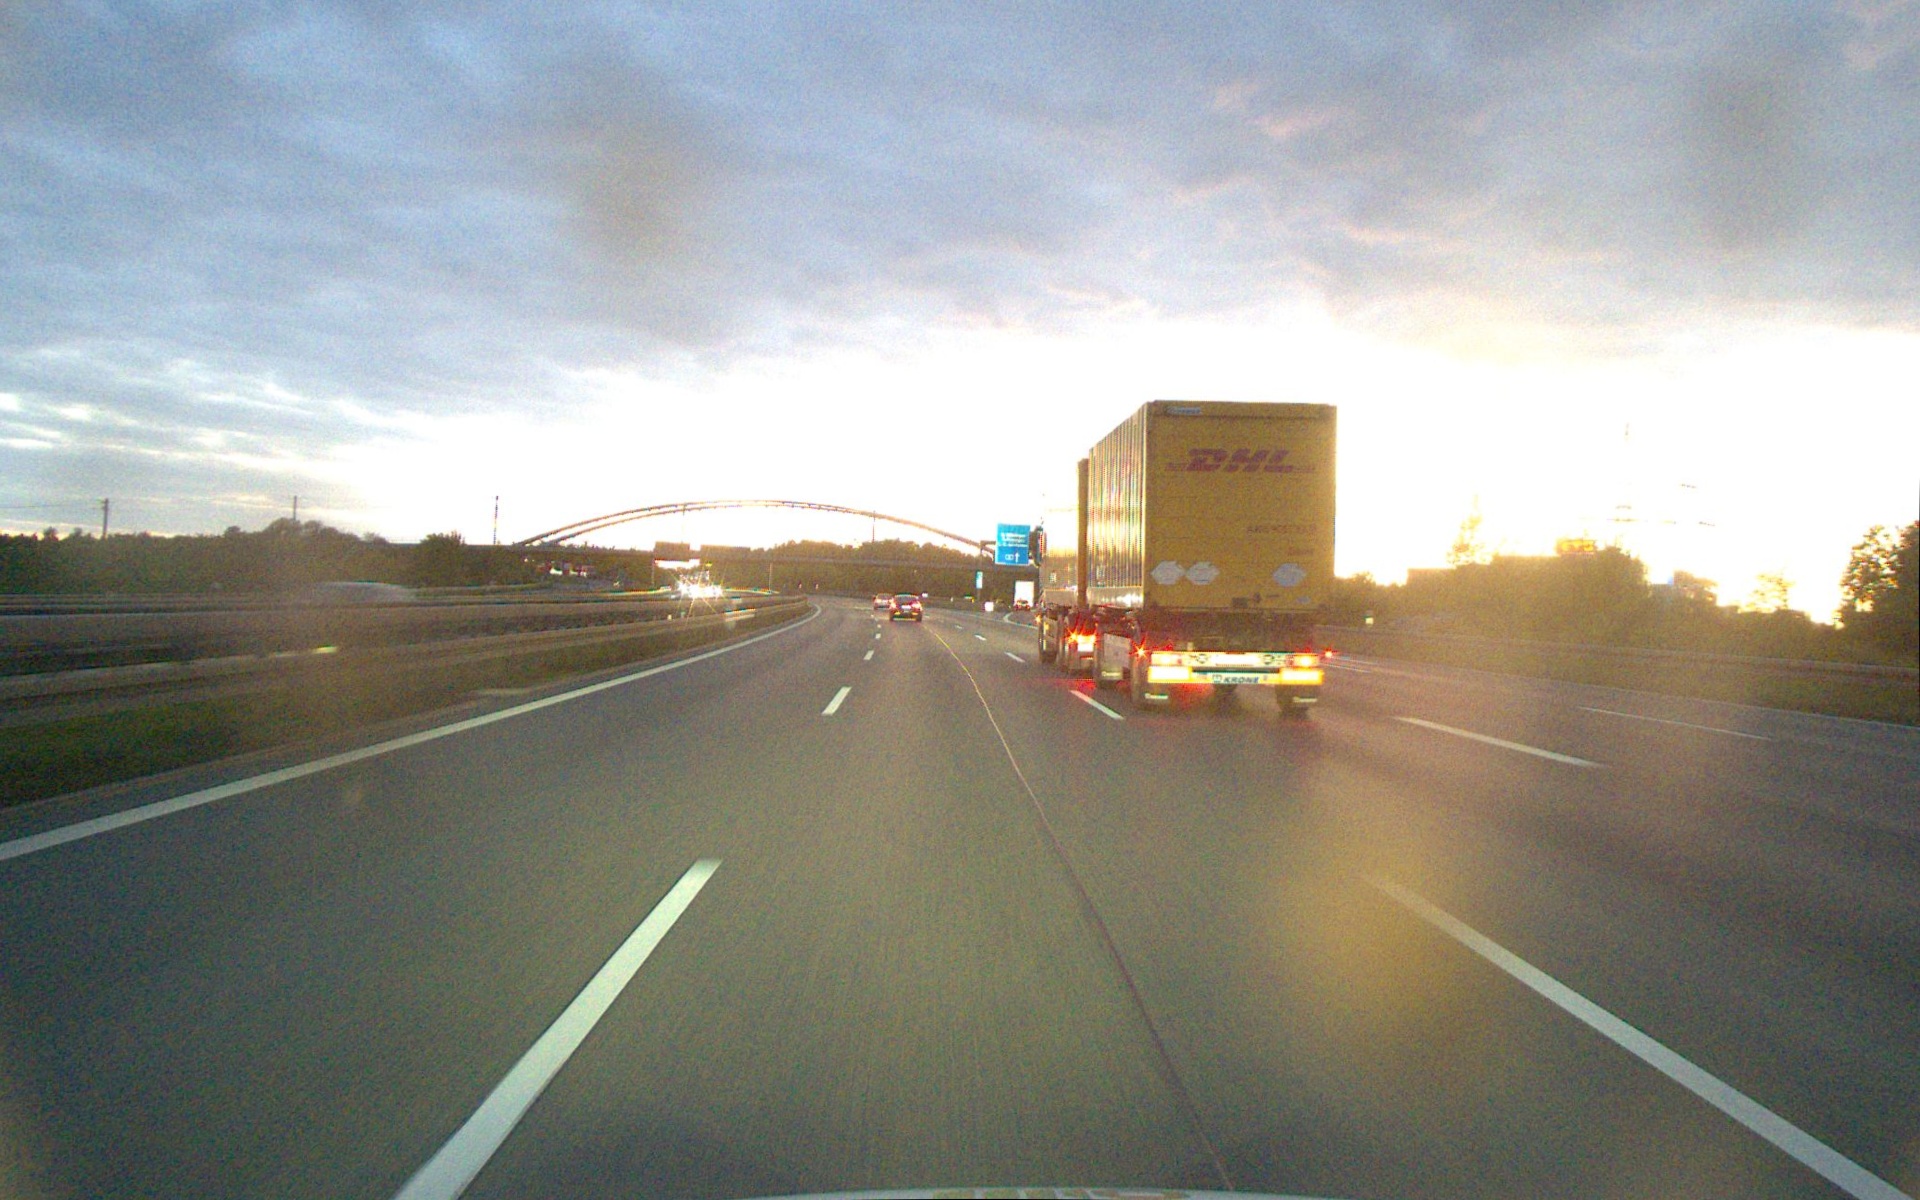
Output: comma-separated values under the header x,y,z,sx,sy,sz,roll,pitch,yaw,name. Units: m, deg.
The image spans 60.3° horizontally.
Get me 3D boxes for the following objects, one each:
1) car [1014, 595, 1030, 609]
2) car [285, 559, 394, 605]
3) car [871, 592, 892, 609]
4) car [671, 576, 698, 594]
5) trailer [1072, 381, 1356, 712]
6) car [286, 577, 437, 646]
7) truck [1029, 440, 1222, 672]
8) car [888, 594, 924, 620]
x,y,z,sx,sy,sz,roll,pitch,yaw,name
8.079,0.259,214.847,1.953,1.747,4.000,2,-1,0,car
-18.024,-0.516,48.222,1.686,1.248,4.182,1,1,-1,car
-7.058,0.036,149.514,1.655,1.426,3.408,0,-1,1,car
-23.375,-1.268,140.422,1.955,1.428,4.792,1,1,-6,car
3.525,-0.720,25.397,2.667,4.142,8.828,1,0,-2,trailer
-13.281,0.218,36.995,1.954,1.428,4.327,1,1,-3,car
3.203,-0.847,35.079,2.636,4.142,10.516,1,1,-2,truck
-3.096,0.405,93.756,1.658,1.426,3.402,1,-1,-8,car
